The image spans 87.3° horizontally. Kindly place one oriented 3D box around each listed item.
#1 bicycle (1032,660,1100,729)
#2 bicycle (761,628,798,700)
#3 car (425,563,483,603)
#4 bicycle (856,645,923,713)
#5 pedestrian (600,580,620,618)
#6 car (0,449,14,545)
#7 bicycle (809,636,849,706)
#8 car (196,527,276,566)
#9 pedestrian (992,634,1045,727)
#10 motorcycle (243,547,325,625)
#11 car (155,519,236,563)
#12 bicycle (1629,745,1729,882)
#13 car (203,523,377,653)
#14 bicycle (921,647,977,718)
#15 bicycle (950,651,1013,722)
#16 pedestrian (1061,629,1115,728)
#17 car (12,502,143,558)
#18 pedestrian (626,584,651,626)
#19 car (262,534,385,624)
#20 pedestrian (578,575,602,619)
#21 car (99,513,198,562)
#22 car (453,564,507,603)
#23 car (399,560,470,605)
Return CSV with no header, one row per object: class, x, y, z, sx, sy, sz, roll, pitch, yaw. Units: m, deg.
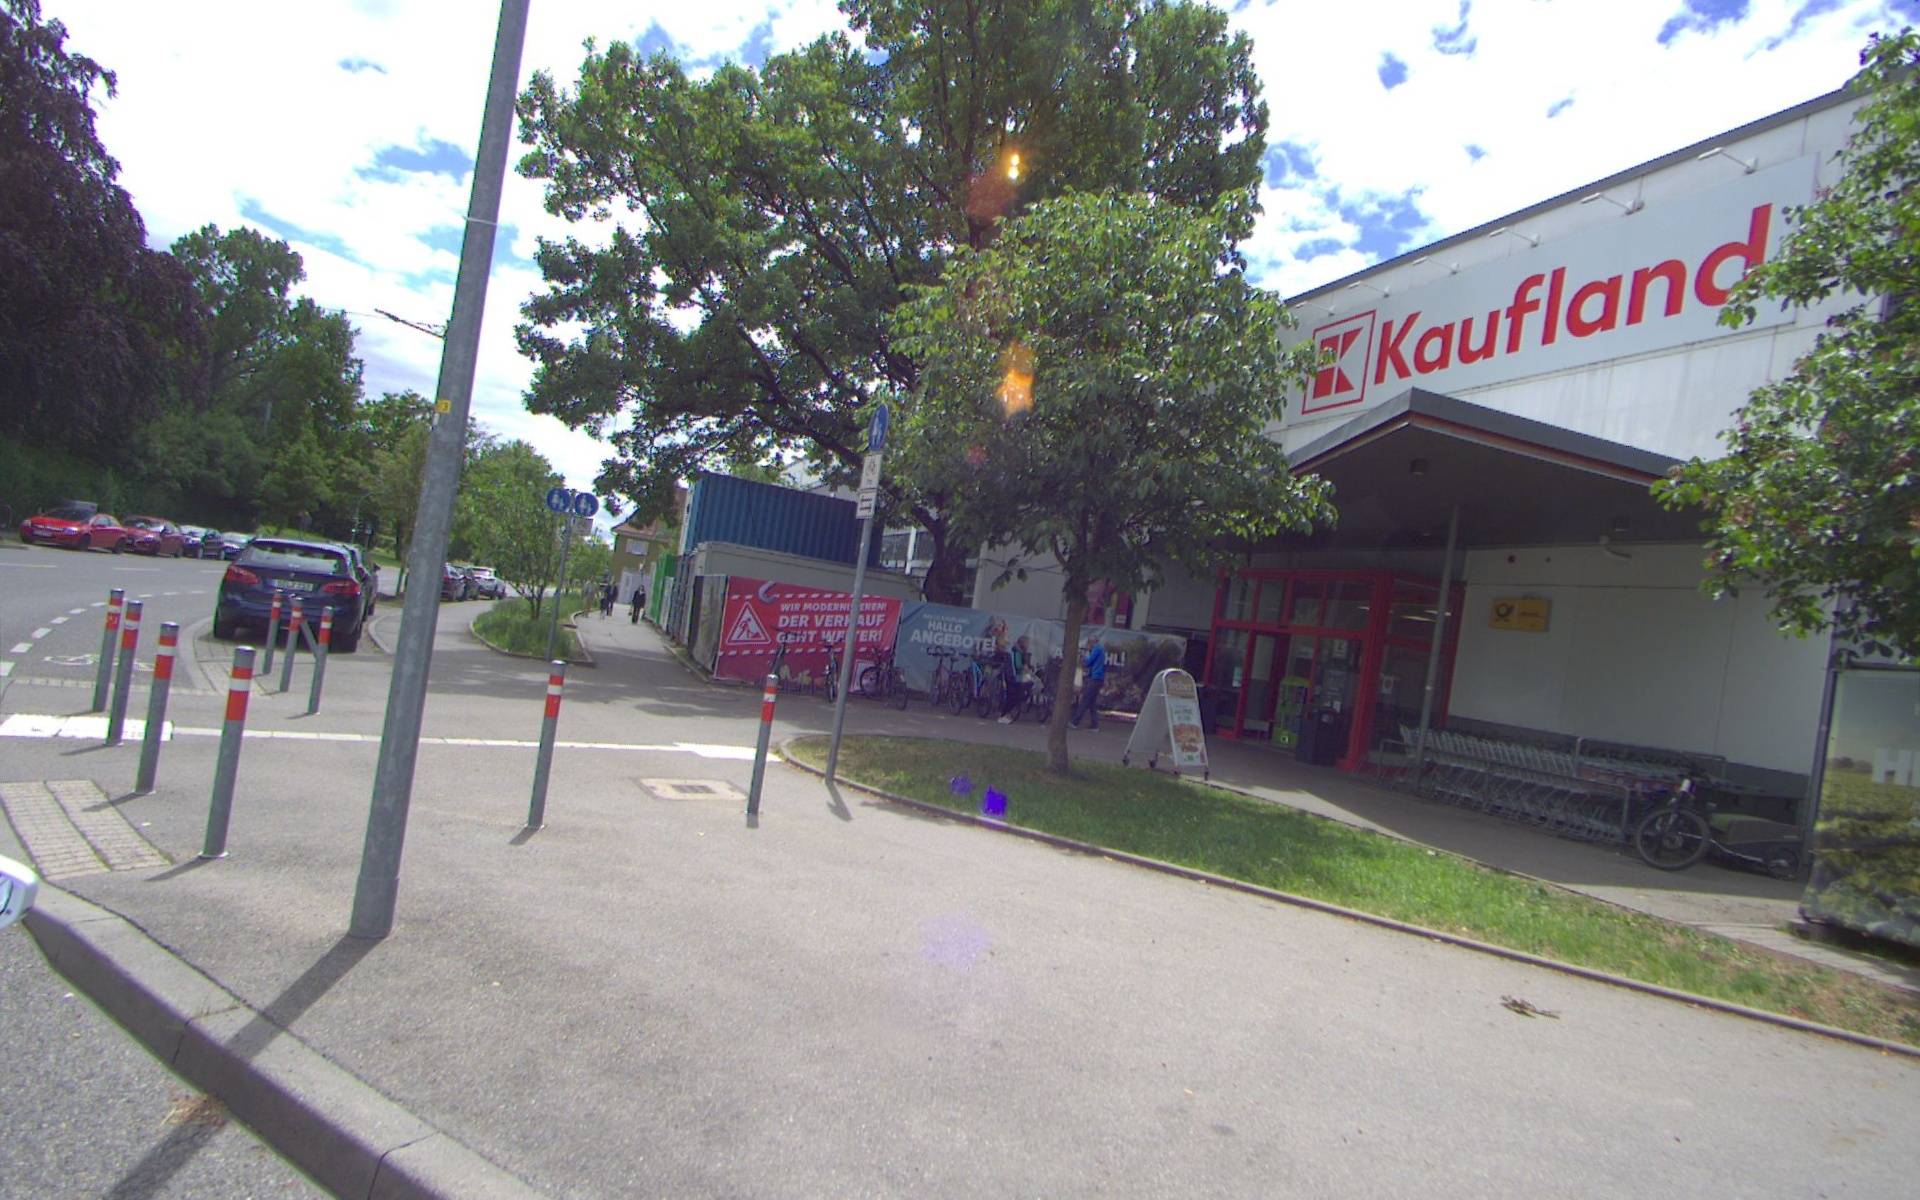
bicycle,2.101,1.876,20.232,0.522,1.168,1.908,9,-2,-16
bicycle,-3.242,1.126,18.135,0.444,1.168,1.789,9,-2,-9
car,-22.595,-0.744,45.066,1.550,1.510,3.987,8,-2,-17
bicycle,-1.344,1.463,18.904,0.515,1.052,1.790,8,-2,-26
pedestrian,-16.766,-0.064,48.219,0.645,1.716,0.841,9,-2,-21
car,-9.812,-0.591,8.666,1.933,1.982,4.779,10,-3,-40
bicycle,-2.409,1.279,18.632,0.492,1.168,1.773,9,-2,-5
car,-35.595,-2.578,49.604,1.678,1.380,4.670,11,-3,-18
pedestrian,1.069,1.467,18.353,0.618,1.584,0.493,9,-1,-18
motorcycle,-13.136,-0.287,19.624,1.063,1.321,2.243,6,-1,-30
car,-34.471,-2.619,45.453,1.578,1.466,3.585,10,-3,-17
bicycle,7.858,2.287,11.015,0.704,1.247,1.770,8,-3,36
car,-10.554,-0.220,16.136,1.903,1.596,4.396,8,-2,-31
bicycle,-0.233,1.558,19.263,0.420,1.168,1.655,9,-2,-19
bicycle,0.399,1.649,19.465,0.434,1.168,1.760,9,-2,-20
pedestrian,2.434,1.484,19.150,0.615,1.778,0.746,6,-1,-15
car,-31.277,-2.426,35.833,1.643,1.392,4.551,10,-3,-18
pedestrian,-13.541,0.218,42.415,0.735,1.636,0.764,9,-2,-21
car,-14.490,-0.497,23.150,1.864,1.640,4.814,8,-2,-28
pedestrian,-15.467,-0.137,42.058,0.645,1.715,0.720,9,-2,-25
car,-32.867,-2.482,40.875,1.633,1.466,4.090,10,-3,-18
car,-24.020,-0.793,50.498,1.717,1.635,4.372,7,-2,-18
car,-20.967,-0.678,40.330,1.745,1.494,4.916,6,-2,-20
